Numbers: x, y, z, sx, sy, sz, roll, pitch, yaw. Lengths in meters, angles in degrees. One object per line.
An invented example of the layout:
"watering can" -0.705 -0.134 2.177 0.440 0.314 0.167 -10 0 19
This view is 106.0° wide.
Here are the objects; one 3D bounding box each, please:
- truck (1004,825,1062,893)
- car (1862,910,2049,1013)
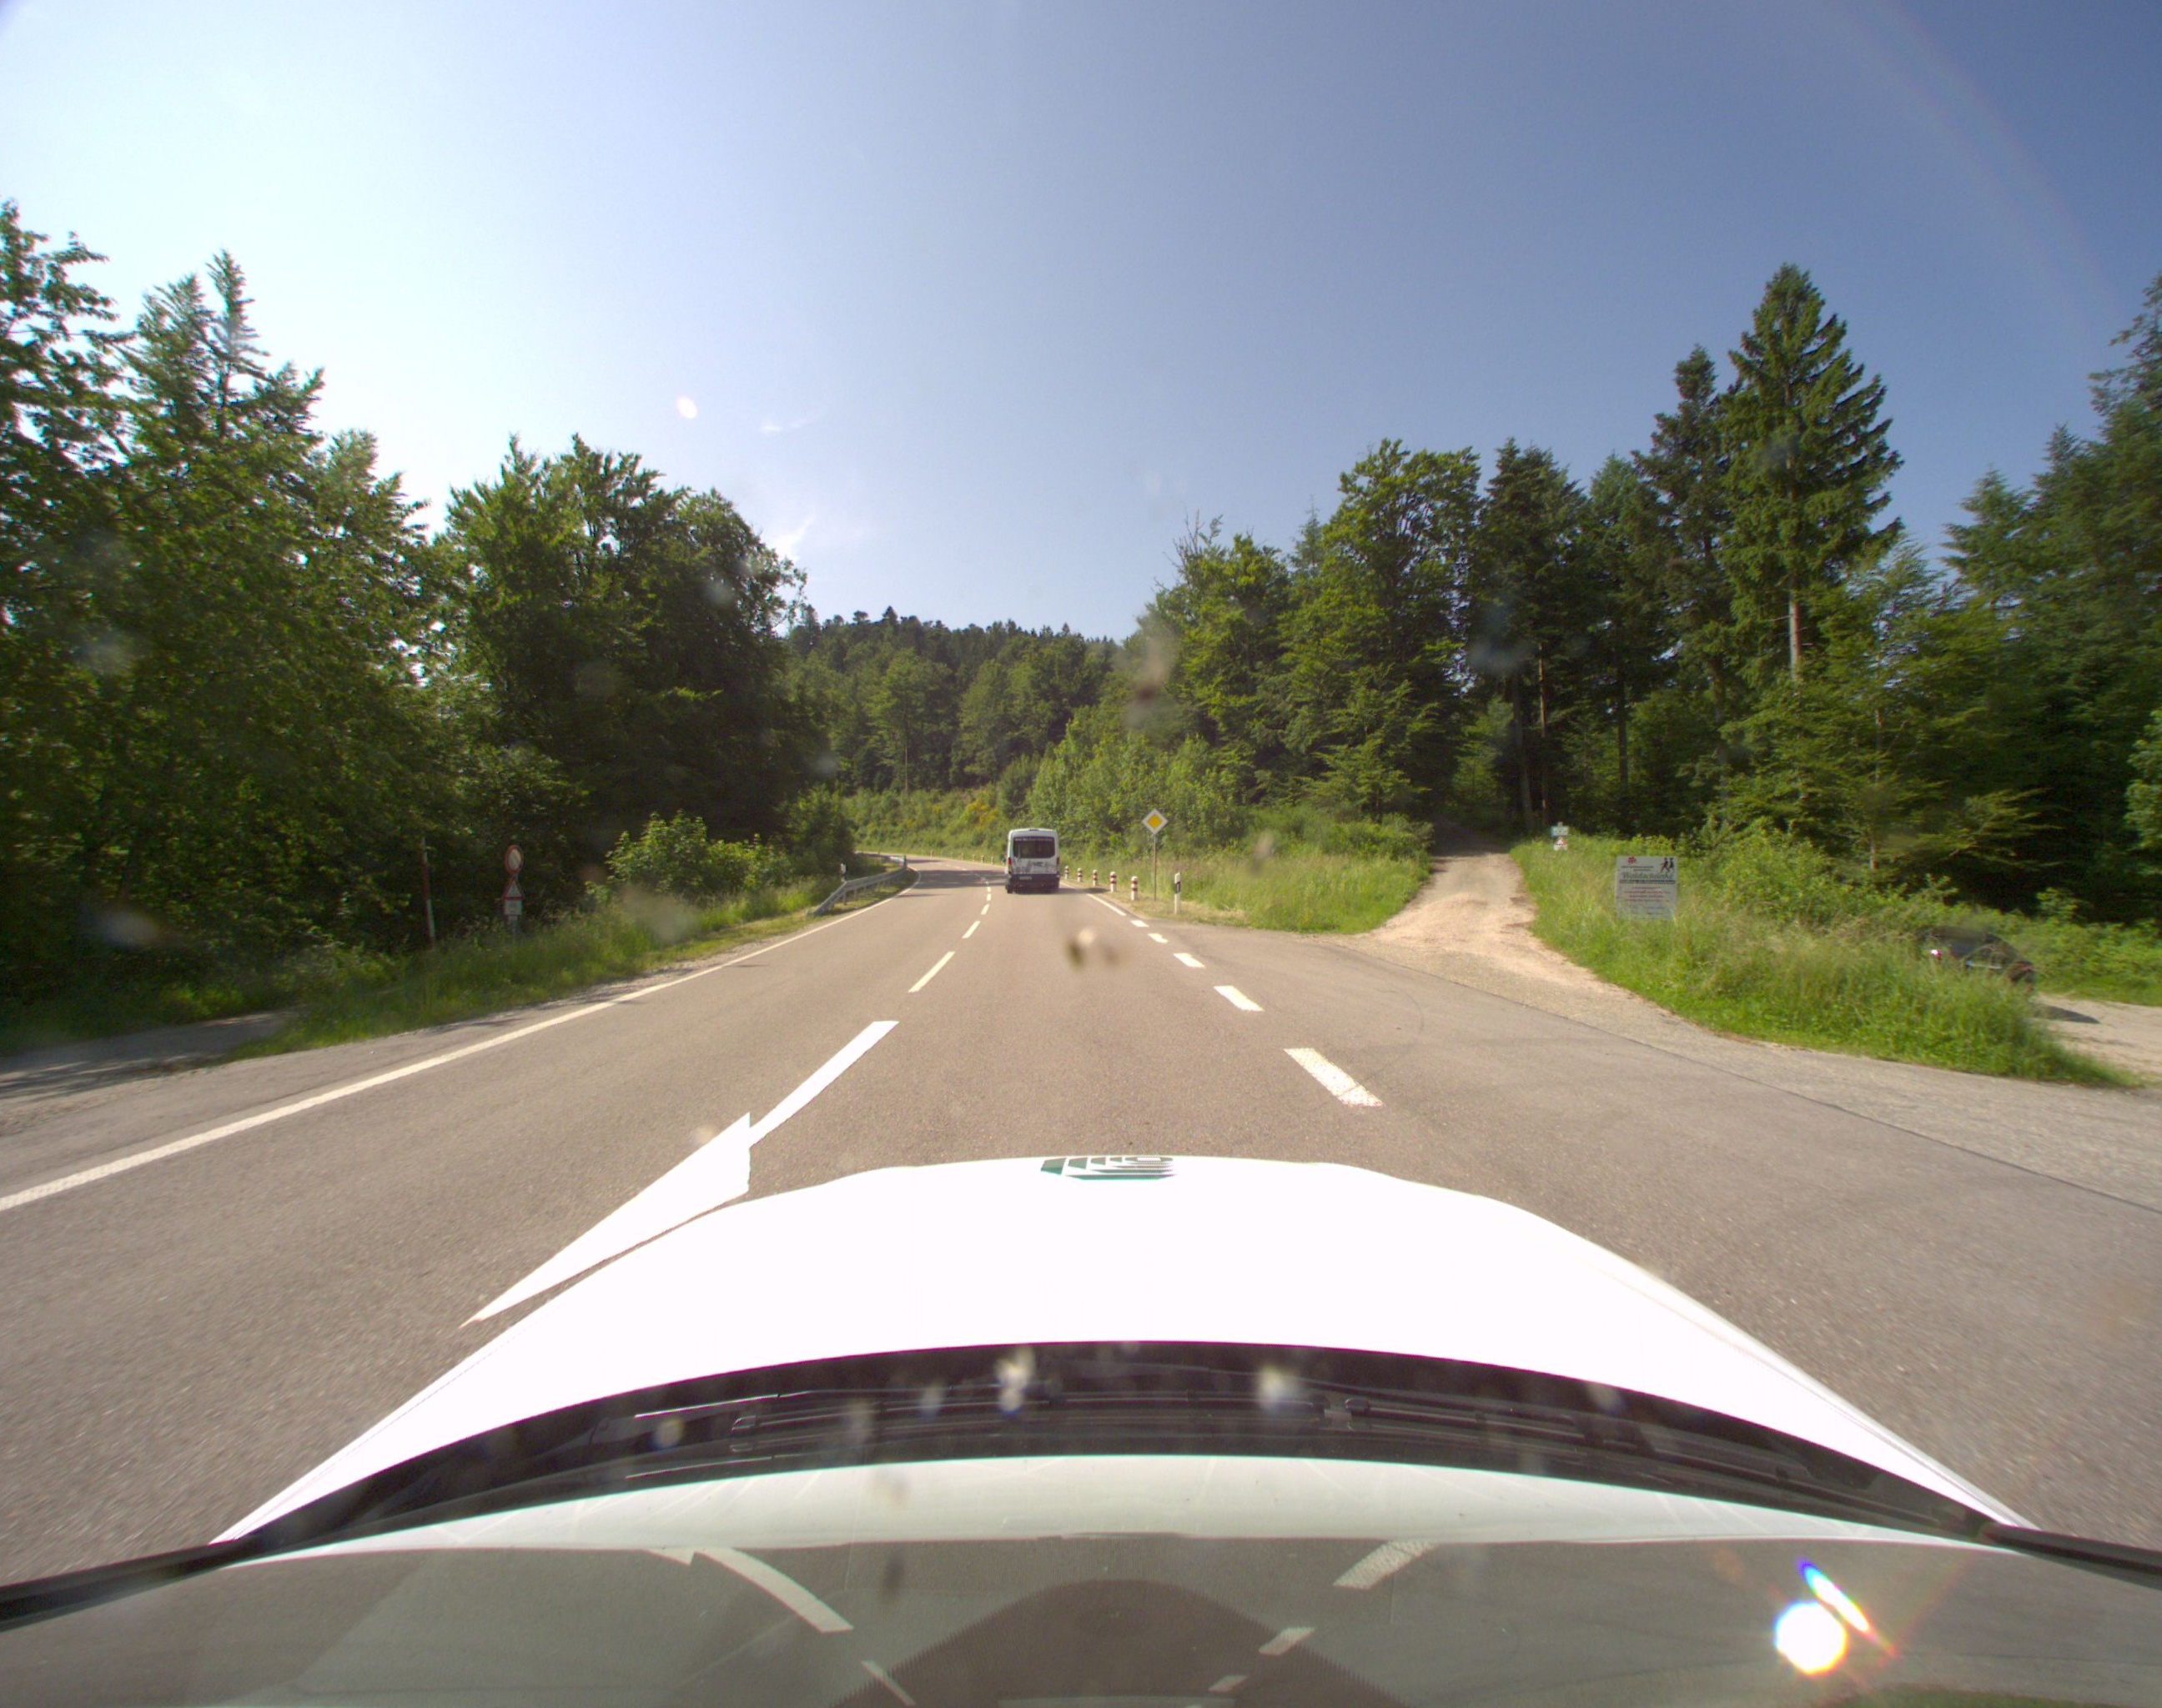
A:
"truck" -2.046 0.177 32.973 2.113 2.498 5.349 -1 0 -6
"car" 19.298 2.262 18.213 1.915 1.593 4.025 6 3 34
